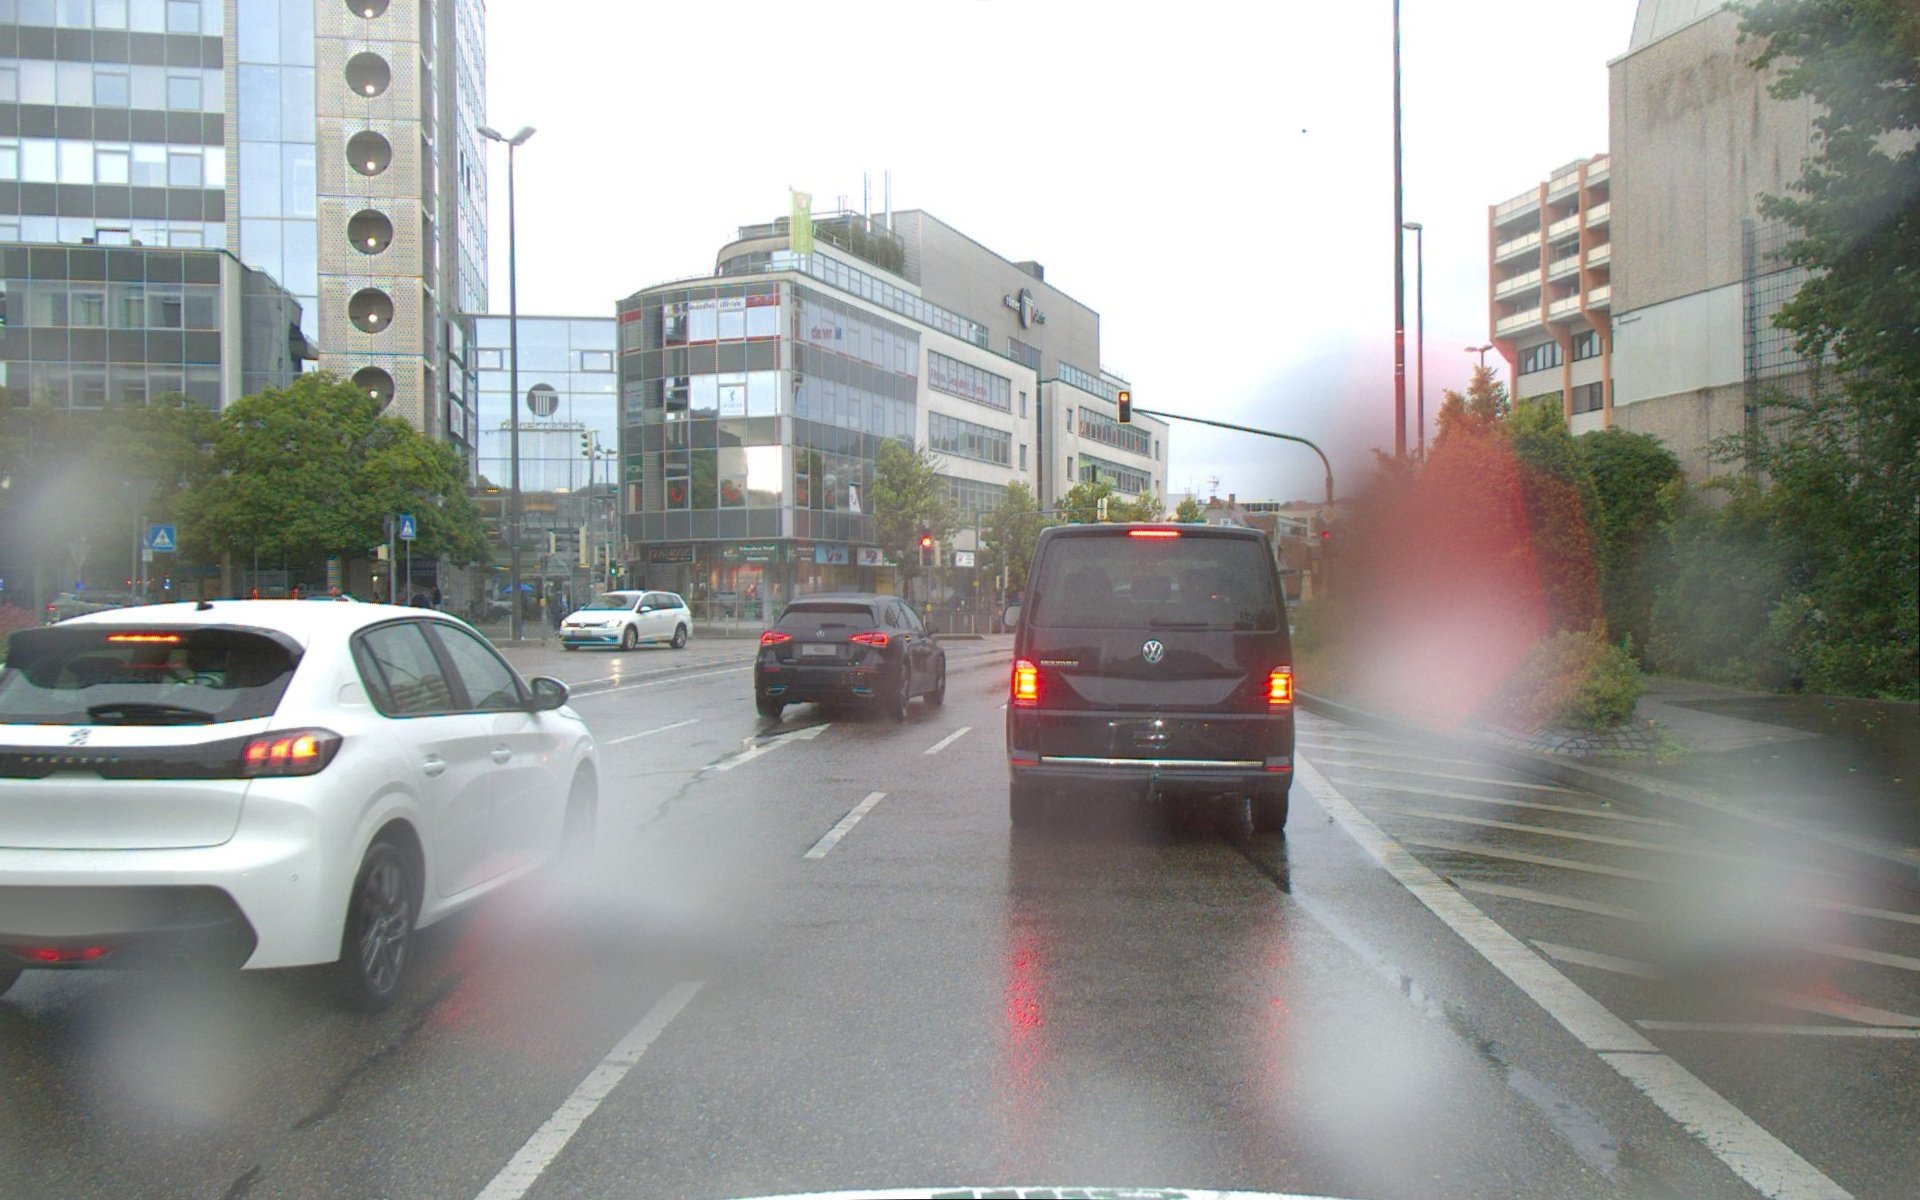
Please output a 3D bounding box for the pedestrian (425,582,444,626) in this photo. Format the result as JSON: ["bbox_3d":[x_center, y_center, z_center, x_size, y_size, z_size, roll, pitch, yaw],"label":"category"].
[{"bbox_3d":[-24.717,0.175,77.765,0.749,2.049,0.712,0,0,-10],"label":"pedestrian"}]

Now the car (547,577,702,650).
[{"bbox_3d":[-8.305,0.308,41.331,1.846,1.712,4.508,0,0,18],"label":"car"}]

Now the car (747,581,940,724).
[{"bbox_3d":[-1.343,0.579,20.512,1.777,1.556,3.815,2,0,5],"label":"car"}]

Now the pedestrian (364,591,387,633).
[{"bbox_3d":[-27.024,0.565,76.475,0.746,1.901,0.822,-1,0,-37],"label":"pedestrian"}]

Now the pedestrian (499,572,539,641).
[{"bbox_3d":[-13.395,0.191,50.211,1.144,2.049,1.322,0,0,-17],"label":"pedestrian"}]

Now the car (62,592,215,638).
[{"bbox_3d":[-26.370,0.479,53.211,3.965,1.445,1.869,0,0,-4],"label":"car"}]

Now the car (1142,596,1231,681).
[{"bbox_3d":[4.562,0.713,32.958,1.599,1.473,4.273,1,1,10],"label":"car"}]

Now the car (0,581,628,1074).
[{"bbox_3d":[-2.837,0.678,7.000,1.832,1.487,3.875,0,0,4],"label":"car"}]

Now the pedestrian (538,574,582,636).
[{"bbox_3d":[-12.231,0.150,50.598,0.828,1.851,1.024,-1,-1,21],"label":"pedestrian"}]

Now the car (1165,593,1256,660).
[{"bbox_3d":[5.957,0.597,39.018,1.871,1.425,3.461,0,1,13],"label":"car"}]

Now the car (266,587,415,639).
[{"bbox_3d":[-19.917,0.412,53.303,4.111,1.623,1.868,0,0,-6],"label":"car"}]

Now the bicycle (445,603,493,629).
[{"bbox_3d":[-24.892,0.803,83.895,2.233,1.268,0.674,-1,0,-12],"label":"bicycle"}]

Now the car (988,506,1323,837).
[{"bbox_3d":[1.350,0.422,12.034,1.953,1.927,4.590,0,0,5],"label":"car"}]
